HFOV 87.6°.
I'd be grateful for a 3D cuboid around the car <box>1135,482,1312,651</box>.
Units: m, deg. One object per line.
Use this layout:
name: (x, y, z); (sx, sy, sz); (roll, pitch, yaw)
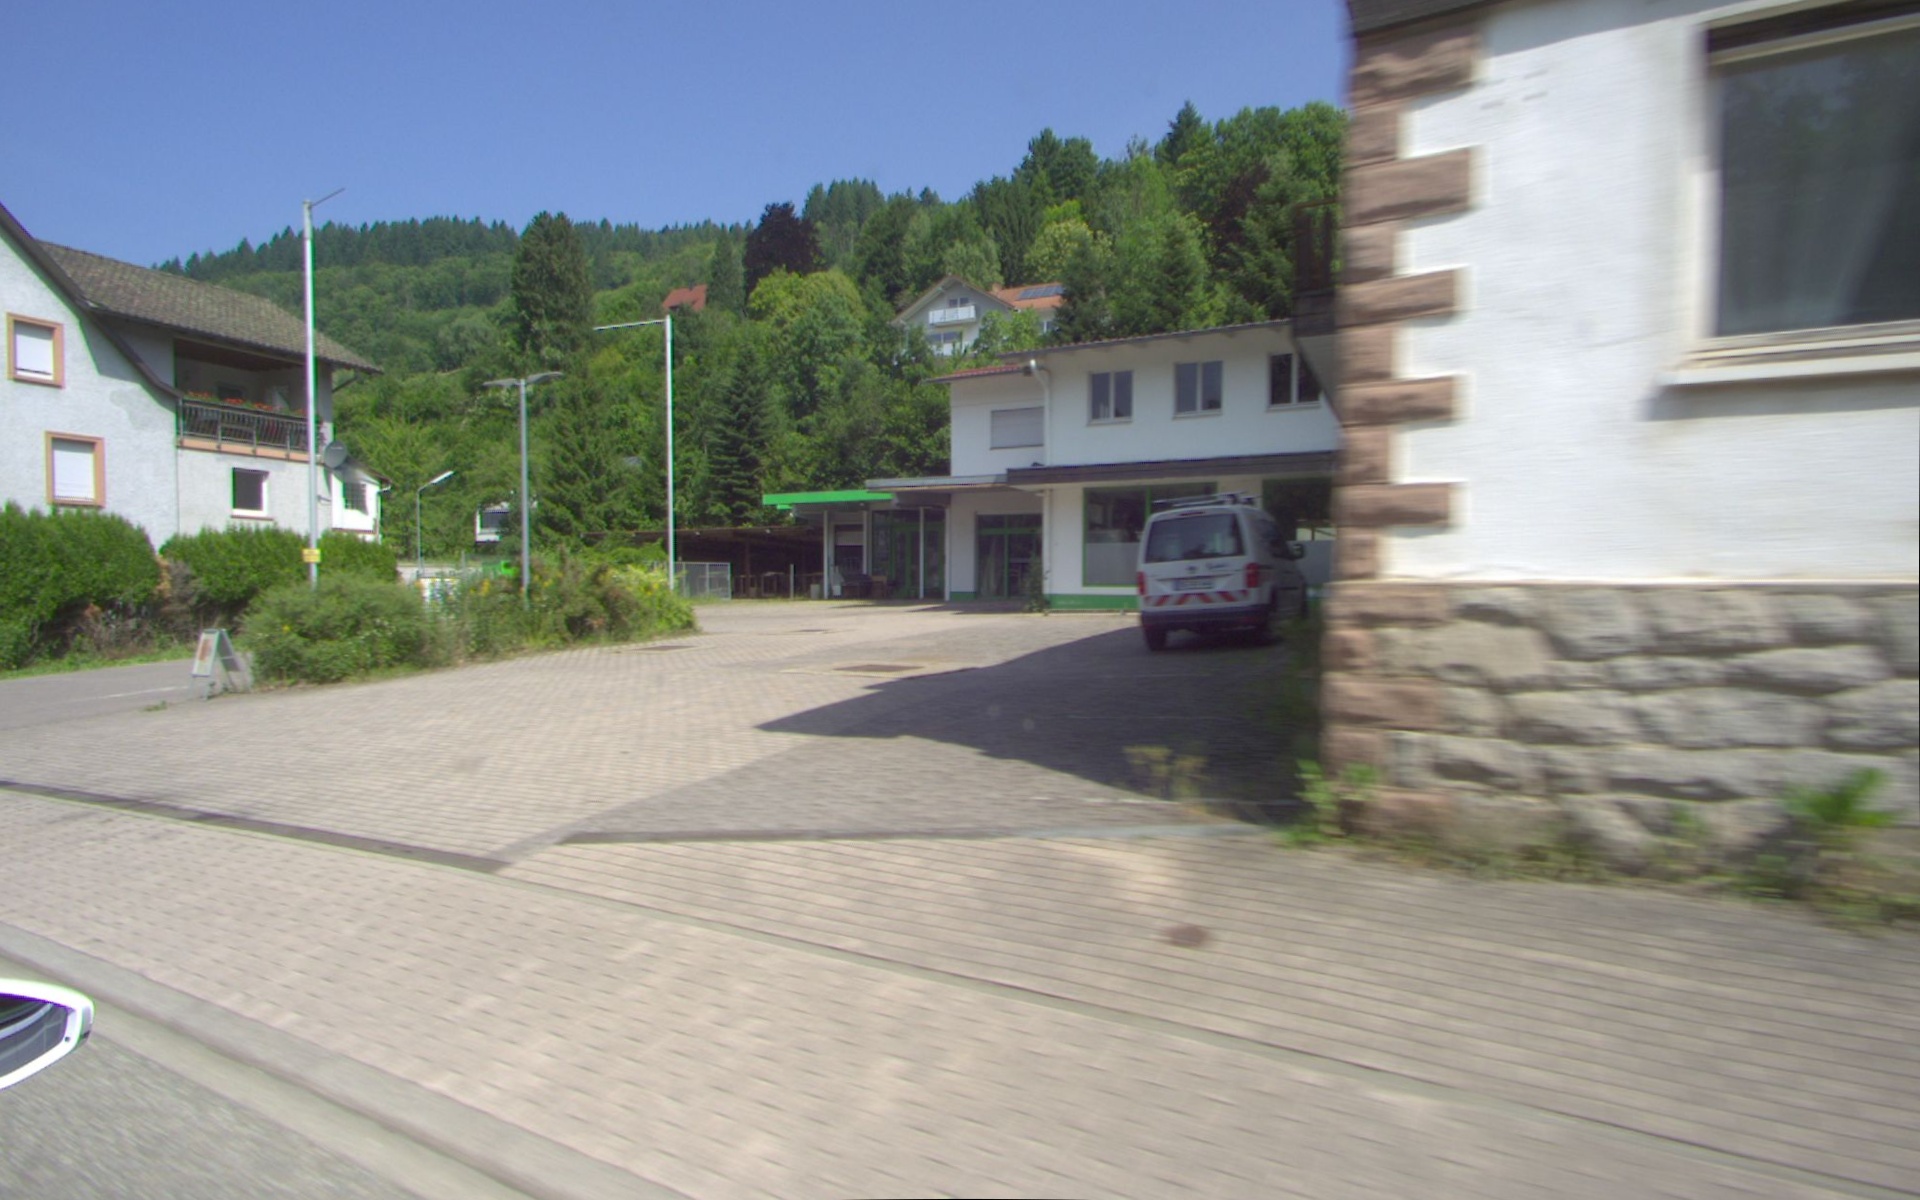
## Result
car: (3.874, -0.553, 14.235); (1.610, 2.012, 4.000); (-2, 4, 26)
